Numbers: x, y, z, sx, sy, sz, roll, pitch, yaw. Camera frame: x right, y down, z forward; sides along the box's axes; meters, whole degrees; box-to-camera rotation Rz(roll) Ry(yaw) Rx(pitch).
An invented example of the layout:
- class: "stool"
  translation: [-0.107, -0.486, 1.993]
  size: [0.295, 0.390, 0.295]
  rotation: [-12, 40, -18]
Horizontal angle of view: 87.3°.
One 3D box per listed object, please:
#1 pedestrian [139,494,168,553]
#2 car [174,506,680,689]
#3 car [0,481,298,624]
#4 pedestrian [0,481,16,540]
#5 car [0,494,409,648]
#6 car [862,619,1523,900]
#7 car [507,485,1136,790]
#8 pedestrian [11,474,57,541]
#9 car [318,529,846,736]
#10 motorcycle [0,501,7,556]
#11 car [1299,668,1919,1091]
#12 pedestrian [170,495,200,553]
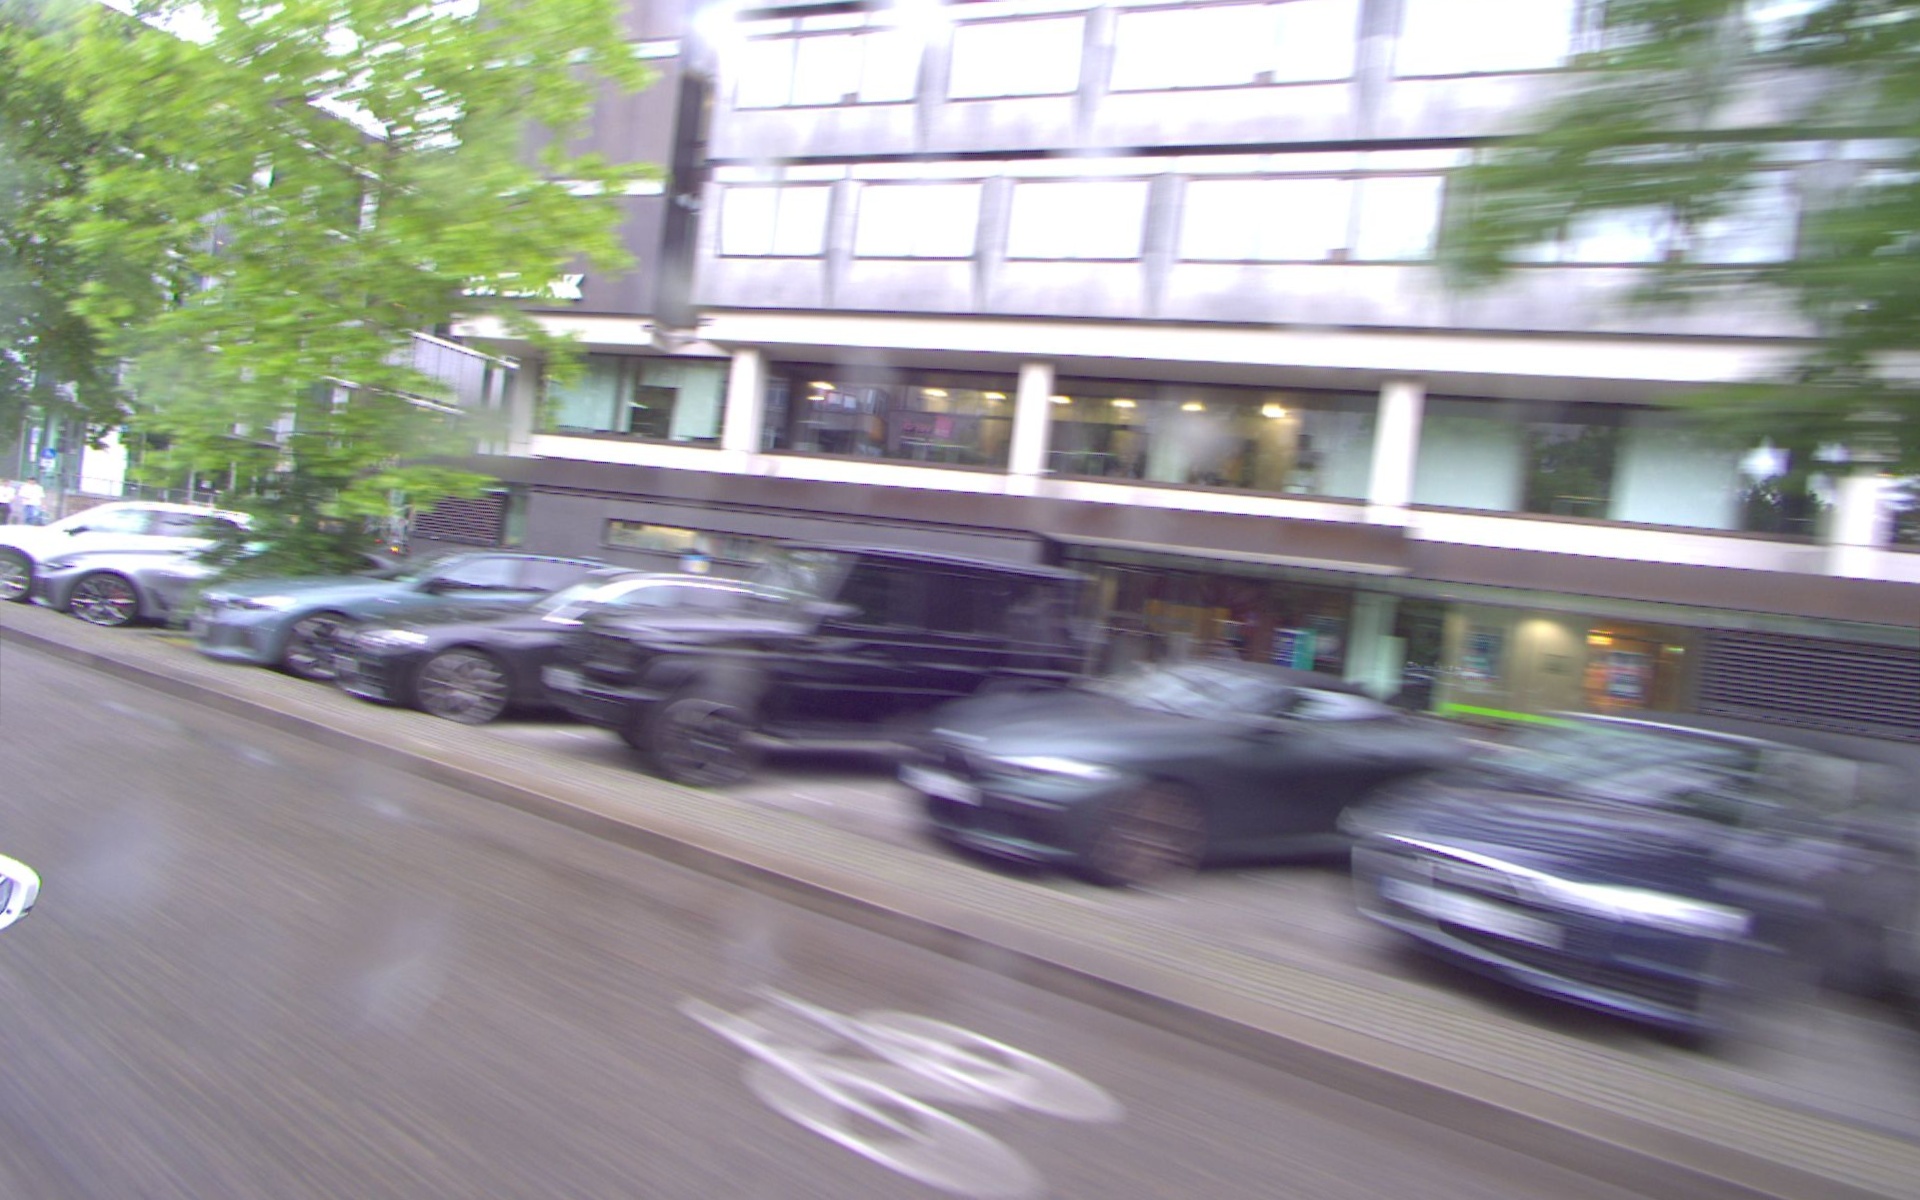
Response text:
- class: "pedestrian"
  translation: [-26.061, -2.467, 32.489]
  size: [0.637, 1.807, 0.761]
  rotation: [2, 3, -42]
- class: "car"
  translation: [-5.913, 0.057, 11.607]
  size: [4.759, 1.553, 1.846]
  rotation: [7, 0, -44]
- class: "car"
  translation: [-12.773, -0.728, 15.400]
  size: [4.186, 1.690, 1.824]
  rotation: [7, 0, -31]
- class: "pedestrian"
  translation: [-32.553, -3.069, 33.919]
  size: [0.874, 1.926, 0.865]
  rotation: [6, -1, 44]
- class: "car"
  translation: [-10.150, -0.344, 13.948]
  size: [4.258, 1.507, 1.829]
  rotation: [7, 0, -29]
- class: "car"
  translation: [1.805, 1.110, 7.339]
  size: [4.586, 1.411, 1.834]
  rotation: [7, -1, -30]
- class: "car"
  translation: [-1.047, 0.437, 8.709]
  size: [4.902, 2.003, 1.913]
  rotation: [7, 0, -32]
- class: "pedestrian"
  translation: [-31.884, -3.172, 34.637]
  size: [1.061, 2.140, 0.934]
  rotation: [6, -1, 44]
- class: "car"
  translation: [-3.625, 0.379, 9.979]
  size: [4.524, 1.525, 1.852]
  rotation: [7, 0, -34]
- class: "motorcycle"
  translation: [-20.733, -1.465, 20.288]
  size: [0.715, 1.431, 2.027]
  rotation: [6, -2, 40]
- class: "car"
  translation: [4.156, 1.382, 5.764]
  size: [4.335, 1.453, 1.747]
  rotation: [8, -1, -32]
- class: "pedestrian"
  translation: [-25.218, -2.464, 32.730]
  size: [0.662, 1.808, 0.908]
  rotation: [2, 4, -43]
